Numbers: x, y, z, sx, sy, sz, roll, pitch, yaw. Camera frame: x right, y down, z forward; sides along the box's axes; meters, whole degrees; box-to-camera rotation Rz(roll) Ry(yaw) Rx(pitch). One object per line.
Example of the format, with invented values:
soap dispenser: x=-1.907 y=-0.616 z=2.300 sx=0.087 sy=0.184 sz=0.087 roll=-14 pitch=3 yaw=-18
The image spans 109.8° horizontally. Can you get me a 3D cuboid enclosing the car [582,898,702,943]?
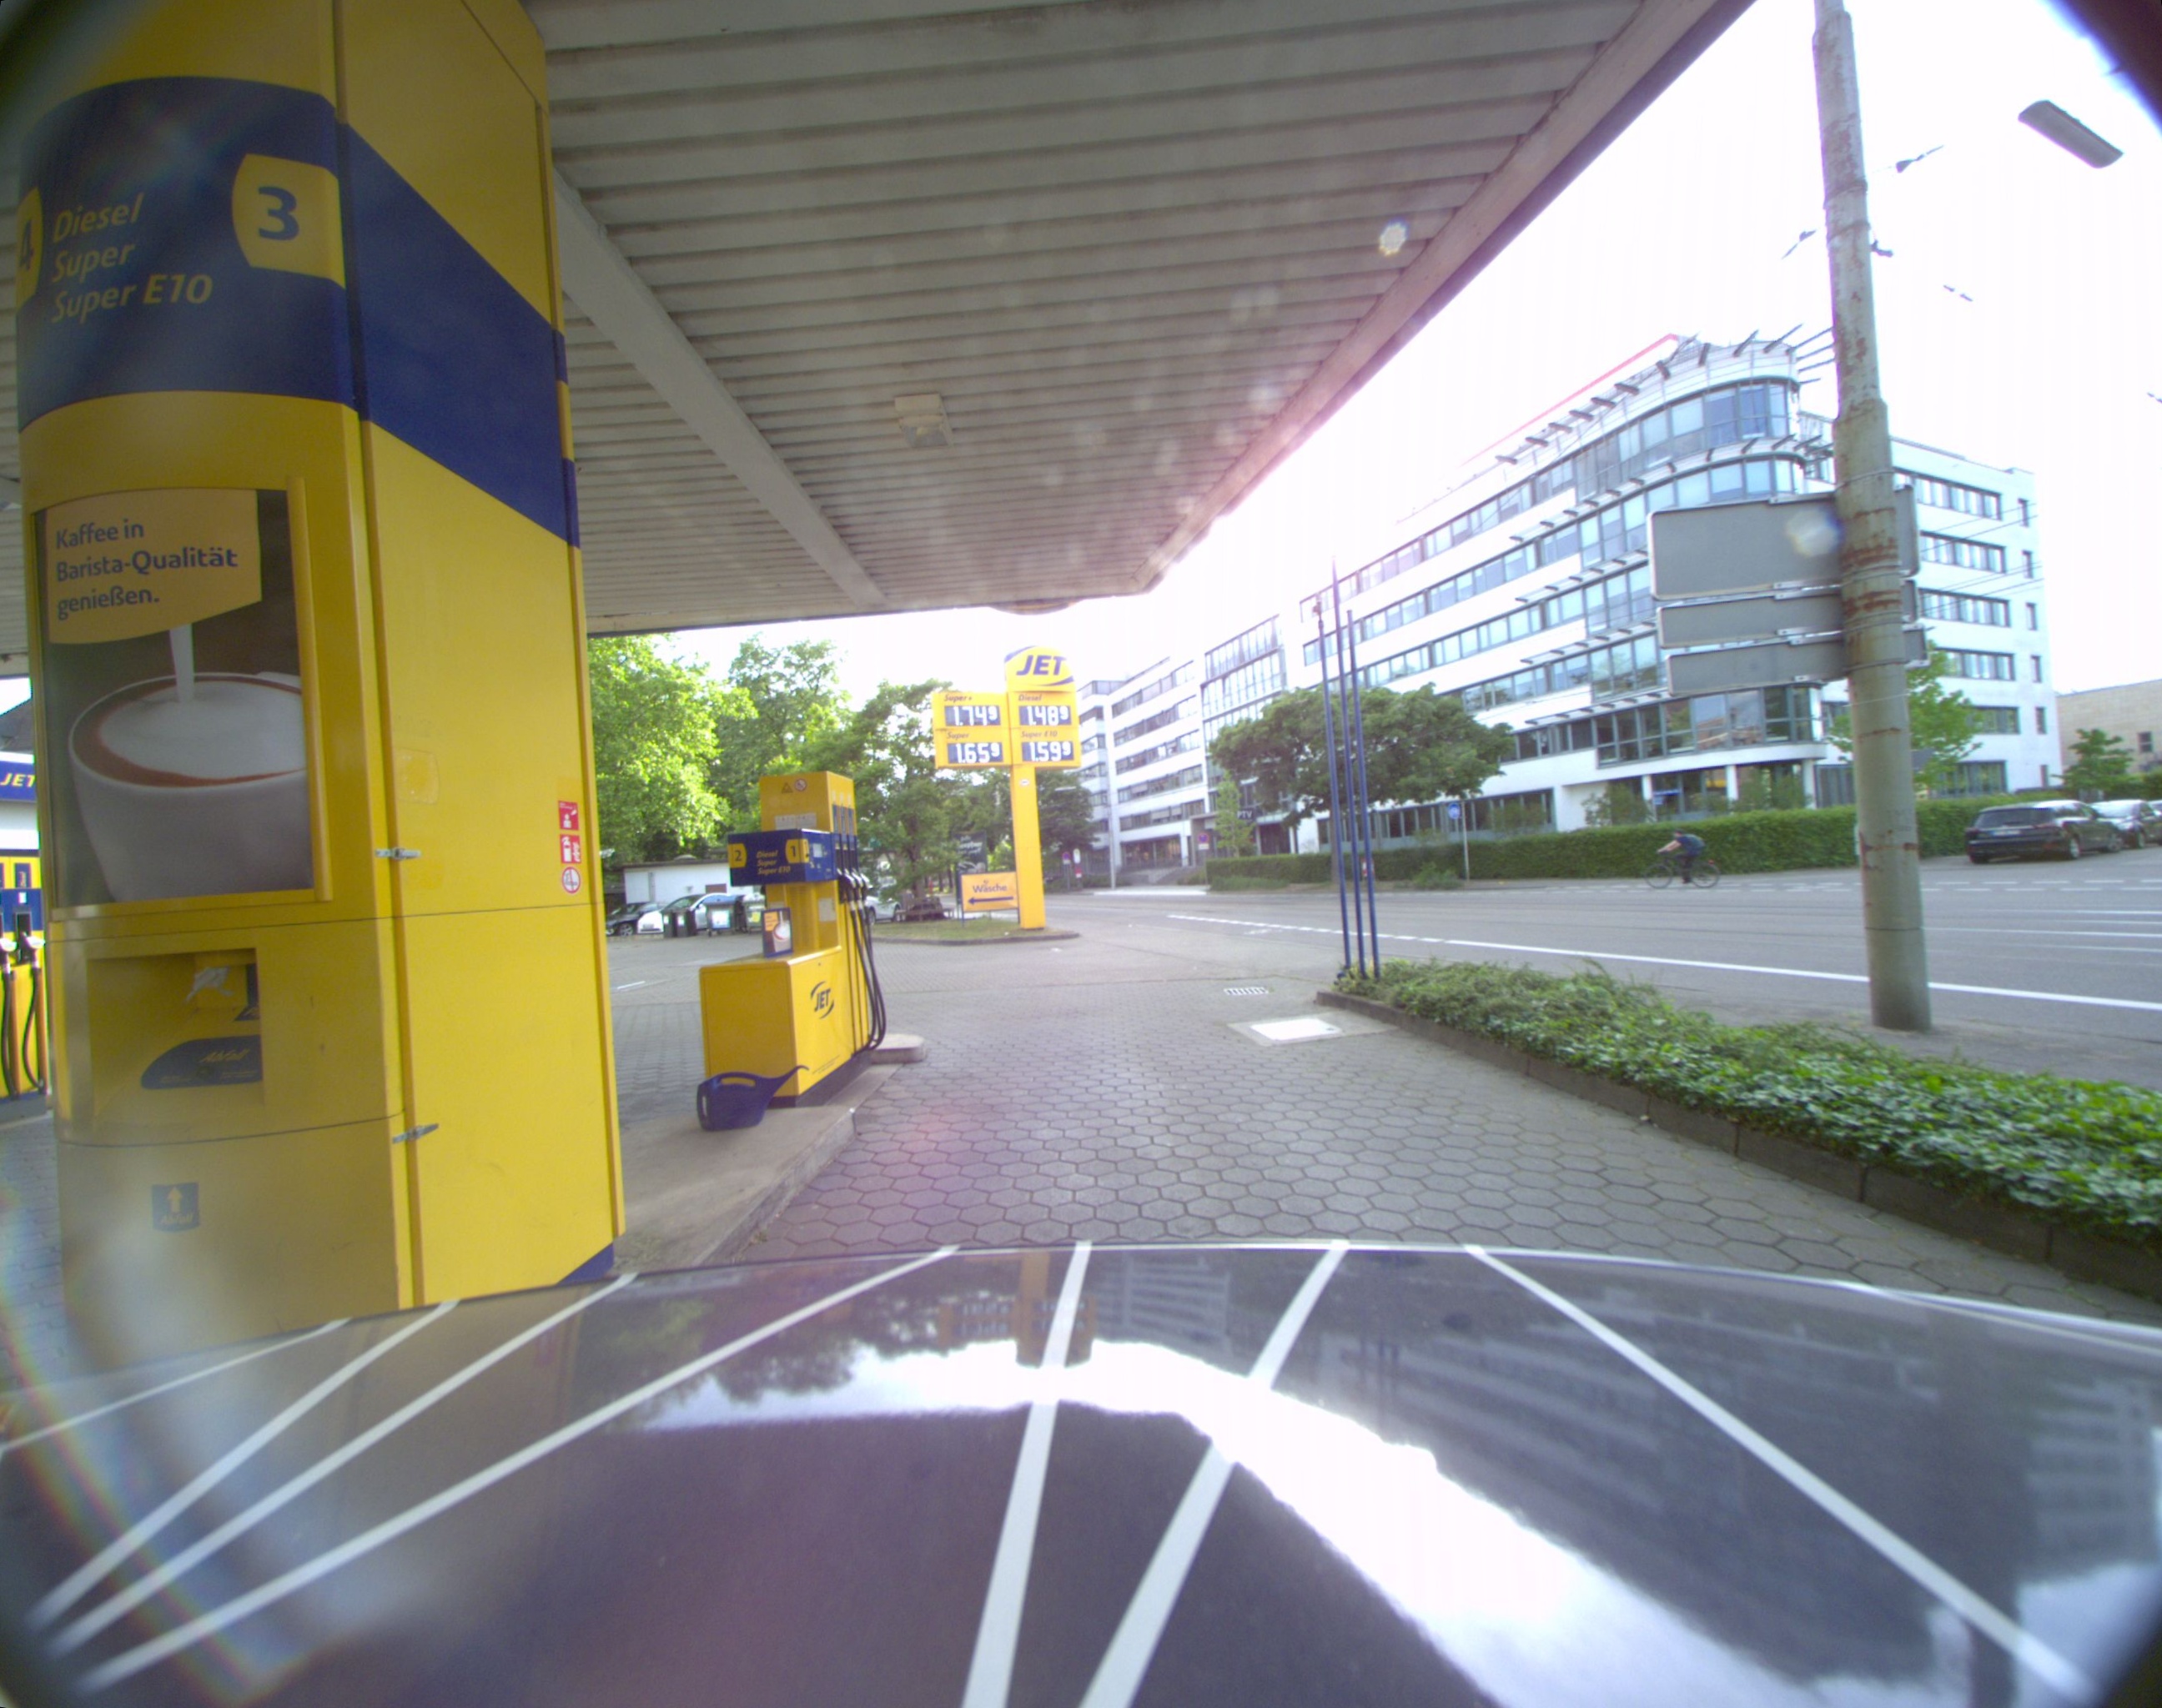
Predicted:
car: x=-17.525 y=2.630 z=30.606 sx=1.823 sy=1.426 sz=4.200 roll=-4 pitch=-2 yaw=10

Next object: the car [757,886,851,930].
car: x=-11.737 y=2.265 z=32.463 sx=1.823 sy=1.575 sz=4.200 roll=-4 pitch=-2 yaw=10

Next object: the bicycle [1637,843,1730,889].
bicycle: x=17.018 y=0.336 z=21.516 sx=0.792 sy=1.232 sz=1.879 roll=-3 pitch=1 yaw=-28

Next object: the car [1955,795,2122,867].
car: x=27.427 y=-0.666 z=21.754 sx=4.397 sy=1.678 sz=1.820 roll=-4 pitch=-1 yaw=-24

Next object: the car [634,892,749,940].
car: x=-15.380 y=2.412 z=30.251 sx=1.823 sy=1.575 sz=4.200 roll=-4 pitch=-2 yaw=10

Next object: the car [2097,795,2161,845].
car: x=37.114 y=-1.249 z=26.012 sx=4.201 sy=1.568 sz=1.820 roll=-4 pitch=-1 yaw=-24

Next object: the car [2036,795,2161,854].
car: x=32.585 y=-0.955 z=24.064 sx=4.201 sy=1.568 sz=1.820 roll=-4 pitch=-1 yaw=-24

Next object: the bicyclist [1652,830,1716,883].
bicyclist: x=17.029 y=0.072 z=21.488 sx=0.792 sy=1.443 sz=1.173 roll=-3 pitch=1 yaw=-28

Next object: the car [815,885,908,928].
car: x=-8.647 y=2.047 z=30.375 sx=1.823 sy=1.449 sz=4.200 roll=-4 pitch=-2 yaw=10
